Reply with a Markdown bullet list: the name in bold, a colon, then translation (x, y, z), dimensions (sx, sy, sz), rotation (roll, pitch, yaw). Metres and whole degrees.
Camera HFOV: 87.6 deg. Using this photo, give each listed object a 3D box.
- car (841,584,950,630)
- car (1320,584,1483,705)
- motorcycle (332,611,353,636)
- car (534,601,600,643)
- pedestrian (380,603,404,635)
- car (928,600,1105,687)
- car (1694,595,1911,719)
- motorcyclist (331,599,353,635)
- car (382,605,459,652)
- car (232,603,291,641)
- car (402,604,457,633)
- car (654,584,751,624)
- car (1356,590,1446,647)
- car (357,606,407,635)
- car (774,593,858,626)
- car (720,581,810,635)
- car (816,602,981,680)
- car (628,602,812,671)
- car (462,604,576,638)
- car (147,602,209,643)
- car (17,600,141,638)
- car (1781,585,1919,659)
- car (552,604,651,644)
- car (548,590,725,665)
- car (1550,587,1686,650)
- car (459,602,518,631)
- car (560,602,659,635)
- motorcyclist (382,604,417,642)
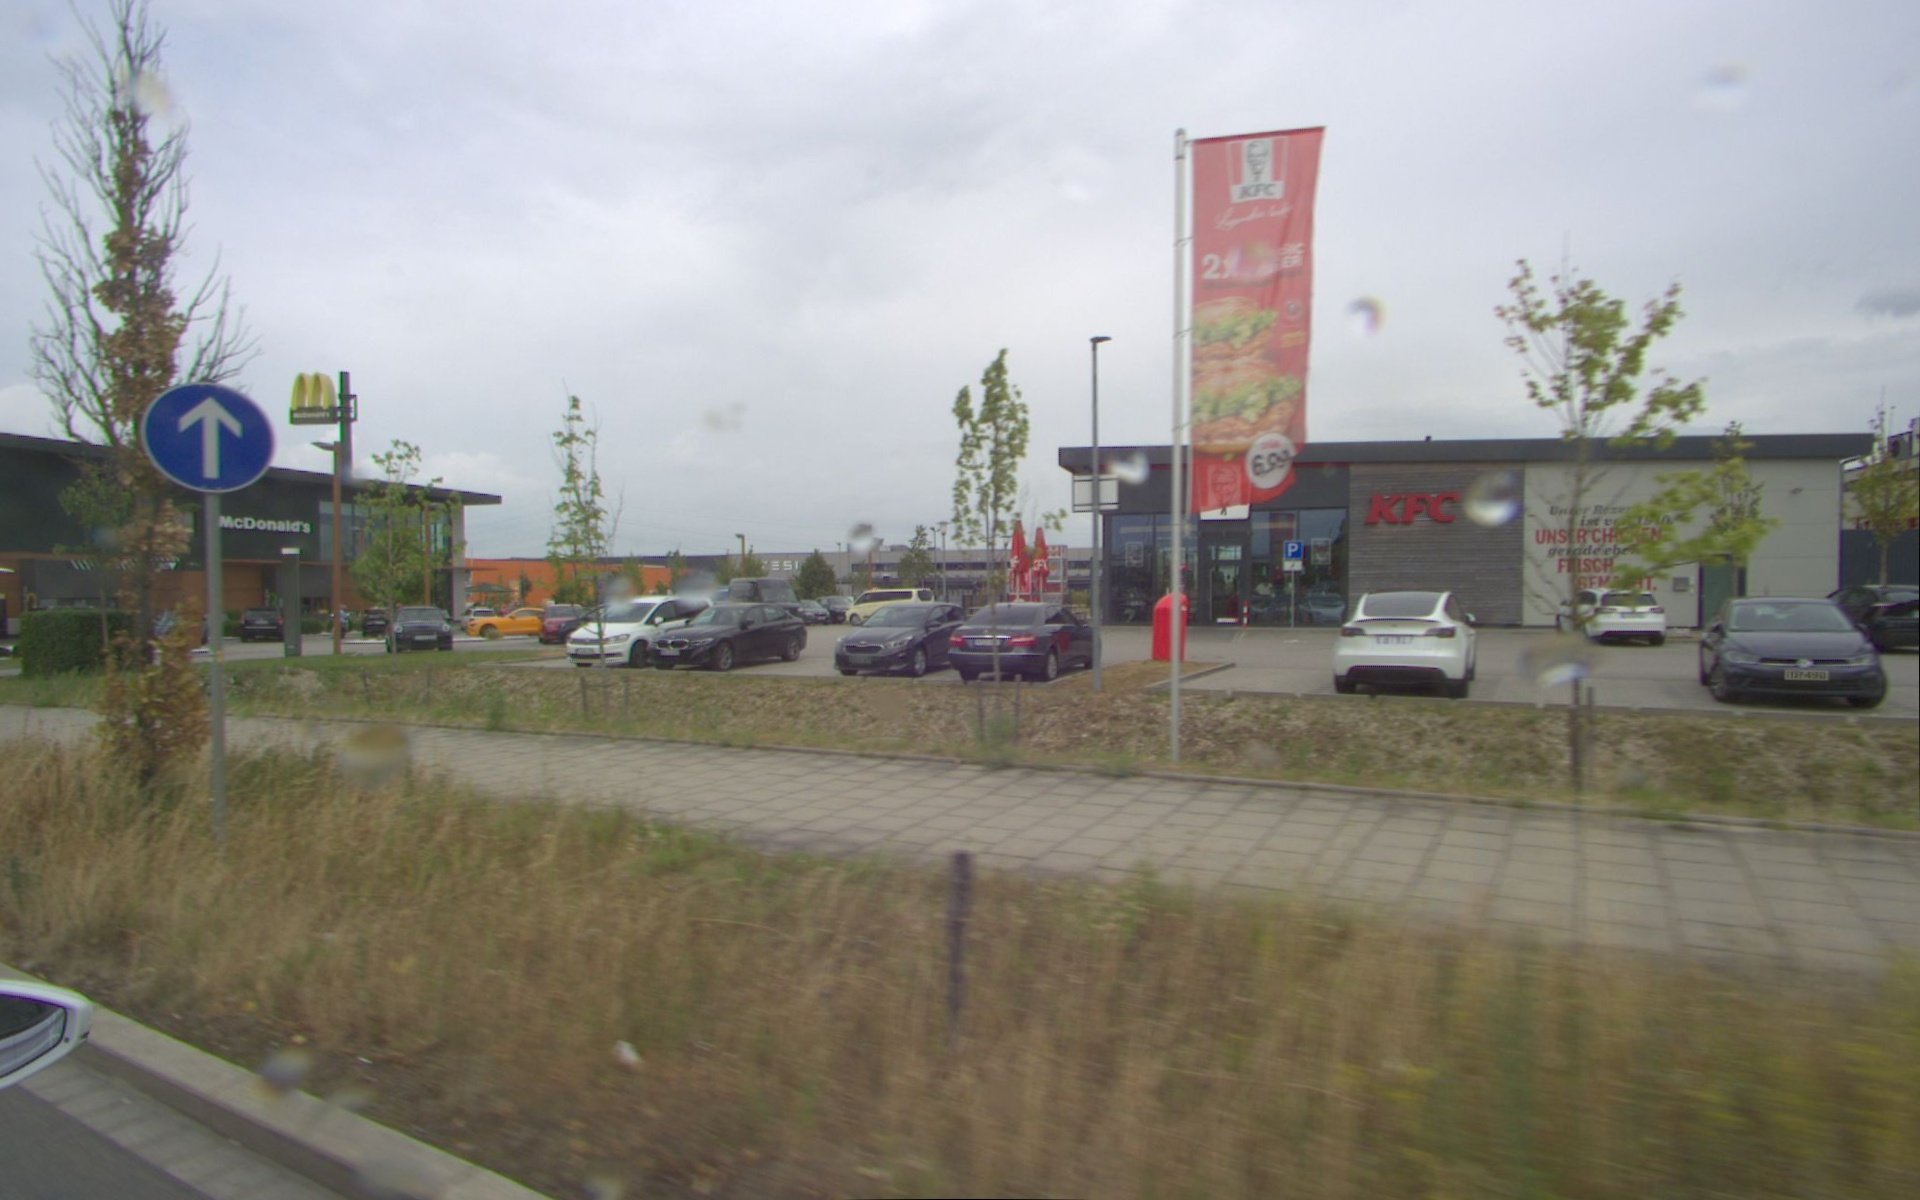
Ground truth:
- **car**: translation (-3.573, 0.366, 55.215), dimensions (5.610, 2.382, 2.522), rotation (0, 1, 32)
- **car**: translation (7.465, 0.605, 16.654), dimensions (2.057, 1.667, 4.554), rotation (0, 1, 29)
- **motorcycle**: translation (-31.855, 1.179, 51.635), dimensions (0.848, 1.261, 1.954), rotation (0, 0, -34)
- **car**: translation (-14.900, 0.786, 37.843), dimensions (1.975, 1.448, 4.137), rotation (0, 0, -26)
- **pedestrian**: translation (-25.655, 0.850, 45.216), dimensions (0.756, 1.458, 0.623), rotation (-1, 1, -13)
- **car**: translation (1.255, 0.751, 19.759), dimensions (1.999, 1.488, 4.517), rotation (0, 0, 25)
- **car**: translation (11.997, 0.717, 14.538), dimensions (1.913, 1.504, 3.977), rotation (-1, 0, 33)
- **motorcyclist**: translation (-31.859, 0.876, 51.624), dimensions (0.952, 1.856, 0.840), rotation (0, 0, -35)
- **car**: translation (-16.815, 0.834, 31.130), dimensions (1.793, 1.330, 3.825), rotation (0, 0, -33)
- **car**: translation (-33.944, 1.056, 48.741), dimensions (2.093, 1.739, 4.207), rotation (0, -1, -31)
- **car**: translation (-30.546, 1.037, 57.601), dimensions (1.979, 1.602, 3.965), rotation (0, -1, -41)
- **car**: translation (-16.894, 0.241, 65.756), dimensions (5.948, 2.562, 2.274), rotation (0, 1, -23)
- **car**: translation (13.001, 0.483, 29.763), dimensions (2.011, 1.539, 4.369), rotation (0, 1, 18)
- **car**: translation (-31.550, 1.116, 54.636), dimensions (1.770, 1.516, 3.967), rotation (0, -1, -39)
- **car**: translation (-8.416, 0.555, 58.824), dimensions (4.600, 1.840, 1.865), rotation (-1, 0, 0)
- **car**: translation (-9.959, 0.378, 50.566), dimensions (2.249, 2.535, 7.288), rotation (-1, 0, -30)
- **car**: translation (-1.191, 0.788, 21.386), dimensions (1.910, 1.457, 4.085), rotation (0, 1, 23)
- **car**: translation (-5.515, 0.775, 23.644), dimensions (2.038, 1.455, 4.471), rotation (0, 0, 21)
- **car**: translation (-20.497, 0.963, 46.571), dimensions (4.665, 1.462, 1.990), rotation (0, 0, -30)
- **car**: translation (-34.625, 0.981, 44.424), dimensions (1.975, 1.739, 3.973), rotation (0, -1, -35)
- **car**: translation (-41.759, 0.901, 47.592), dimensions (1.964, 1.739, 3.994), rotation (0, -1, 18)
- **car**: translation (21.275, 0.441, 23.194), dimensions (1.942, 1.539, 4.567), rotation (0, 1, 18)
- **car**: translation (-12.165, 0.813, 34.152), dimensions (3.034, 1.326, 1.523), rotation (0, 0, -15)
- **car**: translation (-7.801, 0.604, 24.607), dimensions (1.903, 1.661, 4.353), rotation (0, 0, 19)
- **car**: translation (17.647, 0.429, 27.112), dimensions (2.045, 1.539, 4.565), rotation (0, 1, 20)
- **car**: translation (-28.912, 1.014, 61.513), dimensions (1.961, 1.745, 4.000), rotation (0, -1, -5)
- **car**: translation (-18.663, 0.950, 53.401), dimensions (4.668, 1.678, 1.988), rotation (-1, 0, -32)
- **motorcyclist**: translation (-20.132, 0.819, 35.966), dimensions (0.884, 1.352, 0.777), rotation (0, 1, 33)
